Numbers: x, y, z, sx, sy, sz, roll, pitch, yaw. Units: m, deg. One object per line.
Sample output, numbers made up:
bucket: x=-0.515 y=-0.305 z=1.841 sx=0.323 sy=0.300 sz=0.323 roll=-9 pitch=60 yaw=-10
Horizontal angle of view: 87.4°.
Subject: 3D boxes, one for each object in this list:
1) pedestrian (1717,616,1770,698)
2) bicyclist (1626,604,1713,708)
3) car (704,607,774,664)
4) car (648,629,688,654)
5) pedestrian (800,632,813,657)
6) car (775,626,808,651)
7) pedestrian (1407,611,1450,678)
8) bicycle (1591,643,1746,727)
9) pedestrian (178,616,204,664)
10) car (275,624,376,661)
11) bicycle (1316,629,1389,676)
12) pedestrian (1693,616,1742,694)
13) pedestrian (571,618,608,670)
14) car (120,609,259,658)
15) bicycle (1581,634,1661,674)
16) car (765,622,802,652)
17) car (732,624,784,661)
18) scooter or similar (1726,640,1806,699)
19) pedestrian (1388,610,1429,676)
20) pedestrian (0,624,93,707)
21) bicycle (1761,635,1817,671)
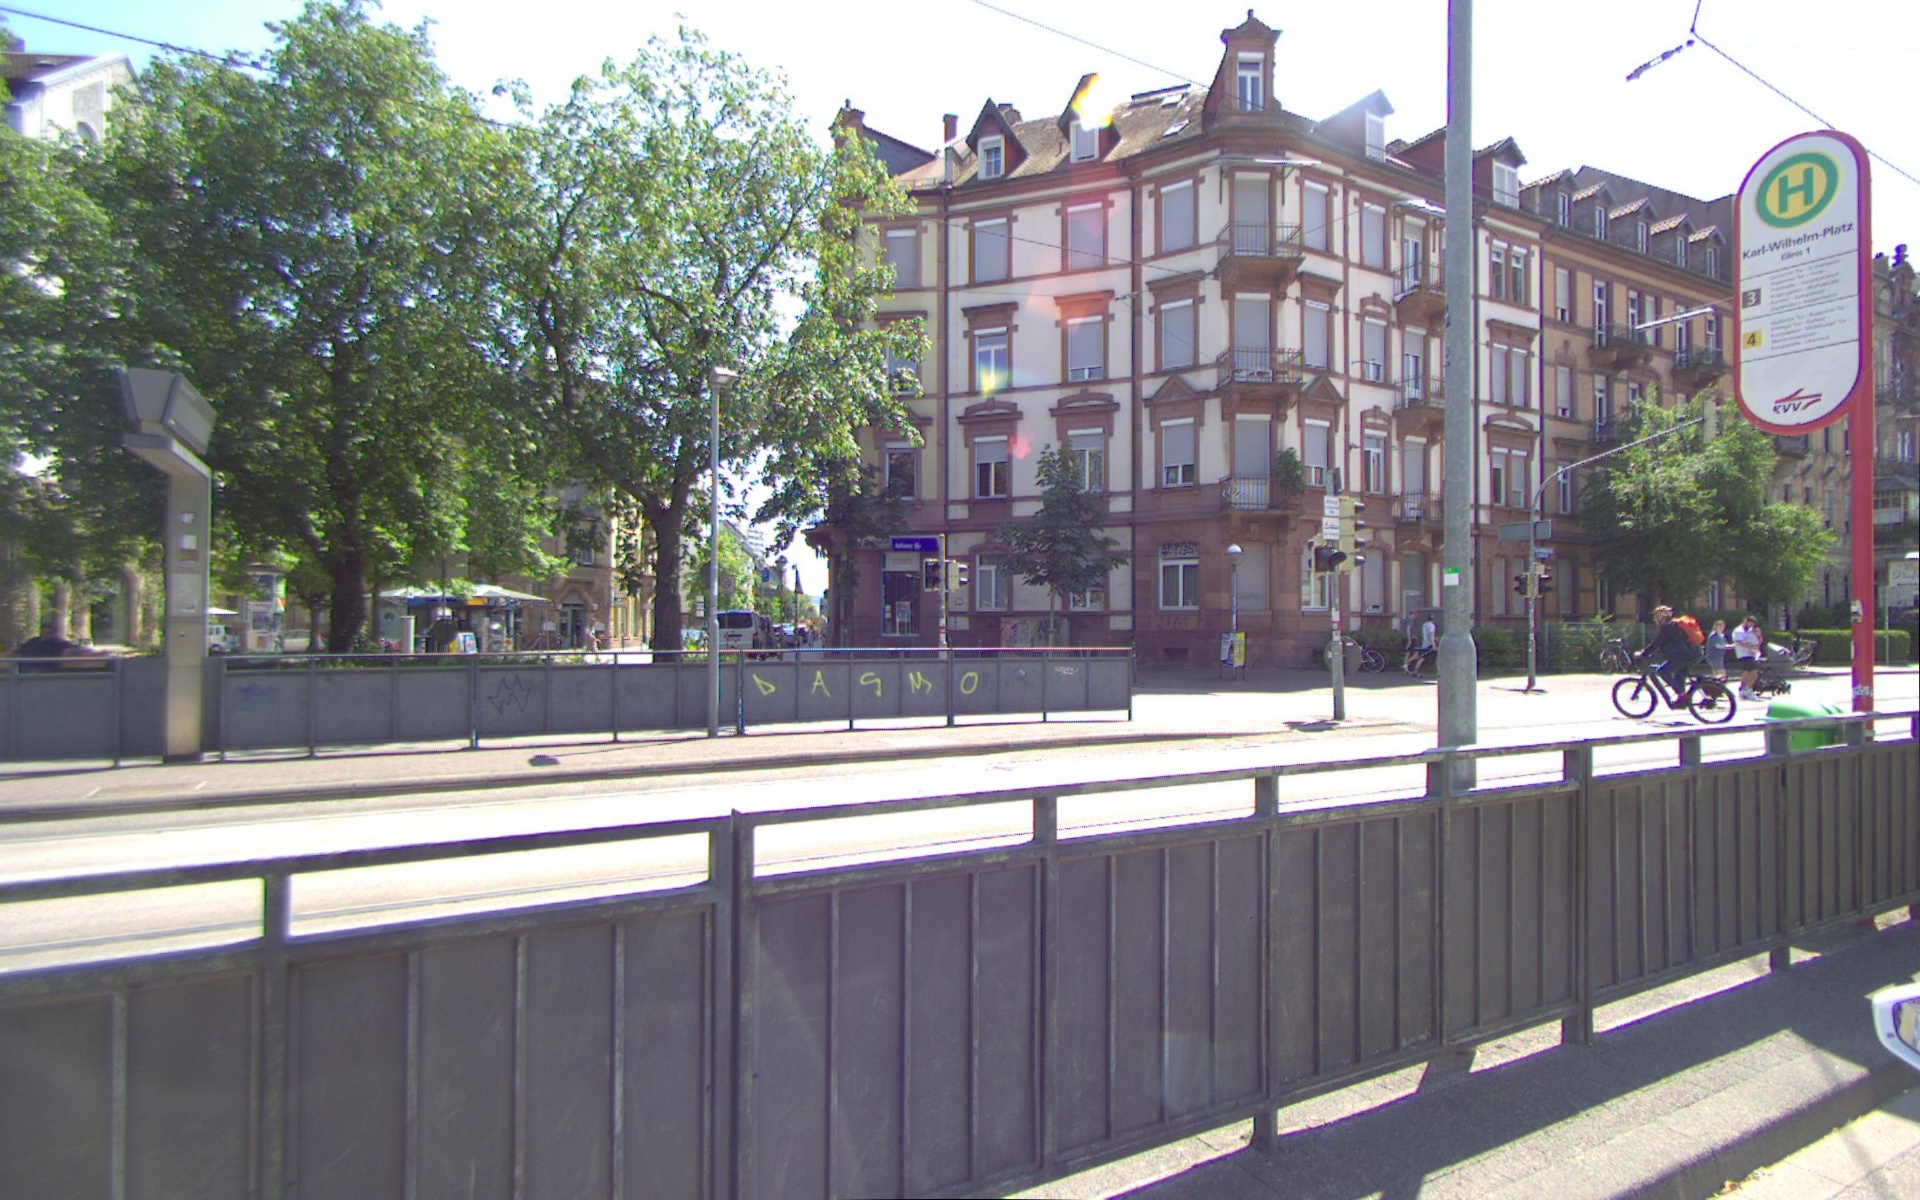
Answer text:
pedestrian: x=16.421 y=1.187 z=21.048 sx=0.551 sy=1.667 sz=0.673 roll=2 pitch=0 yaw=-25
bicyclist: x=11.148 y=0.864 z=15.800 sx=0.714 sy=1.582 sz=0.892 roll=2 pitch=-1 yaw=-28
car: x=-8.340 y=1.291 z=38.216 sx=1.962 sy=1.970 sz=3.998 roll=2 pitch=0 yaw=-4
car: x=-20.673 y=2.905 z=71.162 sx=1.846 sy=1.617 sz=3.998 roll=2 pitch=0 yaw=-4
pedestrian: x=-10.240 y=2.960 z=67.049 sx=0.790 sy=1.632 sz=0.731 roll=0 pitch=-1 yaw=-4
car: x=-12.497 y=2.833 z=74.757 sx=1.962 sy=1.617 sz=3.998 roll=2 pitch=0 yaw=-4
pedestrian: x=13.158 y=1.235 z=28.217 sx=0.856 sy=1.847 sz=0.819 roll=1 pitch=1 yaw=8
bicycle: x=11.157 y=1.309 z=15.895 sx=0.640 sy=1.188 sz=1.912 roll=2 pitch=-1 yaw=-28
pedestrian: x=-26.994 y=1.395 z=35.257 sx=0.506 sy=1.692 sz=0.491 roll=0 pitch=-1 yaw=-8
car: x=-32.088 y=2.148 z=50.889 sx=3.920 sy=1.730 sz=1.761 roll=2 pitch=0 yaw=-14
bicycle: x=11.654 y=1.552 z=29.863 sx=1.923 sy=1.312 sz=0.564 roll=2 pitch=0 yaw=11
pedestrian: x=16.766 y=1.204 z=22.238 sx=0.551 sy=1.667 sz=0.673 roll=2 pitch=0 yaw=-25
pedestrian: x=-12.423 y=1.470 z=33.701 sx=1.043 sy=1.712 sz=0.721 roll=0 pitch=-1 yaw=-12
car: x=-31.200 y=1.357 z=40.814 sx=3.932 sy=1.814 sz=1.994 roll=2 pitch=0 yaw=-14
bicycle: x=20.217 y=1.640 z=30.717 sx=2.742 sy=1.151 sz=0.932 roll=2 pitch=0 yaw=-31
car: x=-10.386 y=2.167 z=59.453 sx=1.684 sy=1.617 sz=3.998 roll=2 pitch=0 yaw=-4
car: x=-9.638 y=2.002 z=48.288 sx=1.893 sy=1.541 sz=3.998 roll=2 pitch=0 yaw=-4
scooter or similar: x=17.143 y=1.459 z=21.386 sx=0.551 sy=1.170 sz=1.198 roll=2 pitch=0 yaw=-25
pedestrian: x=12.928 y=1.231 z=28.973 sx=0.856 sy=1.847 sz=0.819 roll=1 pitch=1 yaw=8
pedestrian: x=-14.670 y=1.037 z=16.104 sx=0.925 sy=1.261 sz=0.860 roll=2 pitch=0 yaw=-24
bicycle: x=28.497 y=1.798 z=34.507 sx=2.750 sy=1.151 sz=0.930 roll=2 pitch=0 yaw=-39
